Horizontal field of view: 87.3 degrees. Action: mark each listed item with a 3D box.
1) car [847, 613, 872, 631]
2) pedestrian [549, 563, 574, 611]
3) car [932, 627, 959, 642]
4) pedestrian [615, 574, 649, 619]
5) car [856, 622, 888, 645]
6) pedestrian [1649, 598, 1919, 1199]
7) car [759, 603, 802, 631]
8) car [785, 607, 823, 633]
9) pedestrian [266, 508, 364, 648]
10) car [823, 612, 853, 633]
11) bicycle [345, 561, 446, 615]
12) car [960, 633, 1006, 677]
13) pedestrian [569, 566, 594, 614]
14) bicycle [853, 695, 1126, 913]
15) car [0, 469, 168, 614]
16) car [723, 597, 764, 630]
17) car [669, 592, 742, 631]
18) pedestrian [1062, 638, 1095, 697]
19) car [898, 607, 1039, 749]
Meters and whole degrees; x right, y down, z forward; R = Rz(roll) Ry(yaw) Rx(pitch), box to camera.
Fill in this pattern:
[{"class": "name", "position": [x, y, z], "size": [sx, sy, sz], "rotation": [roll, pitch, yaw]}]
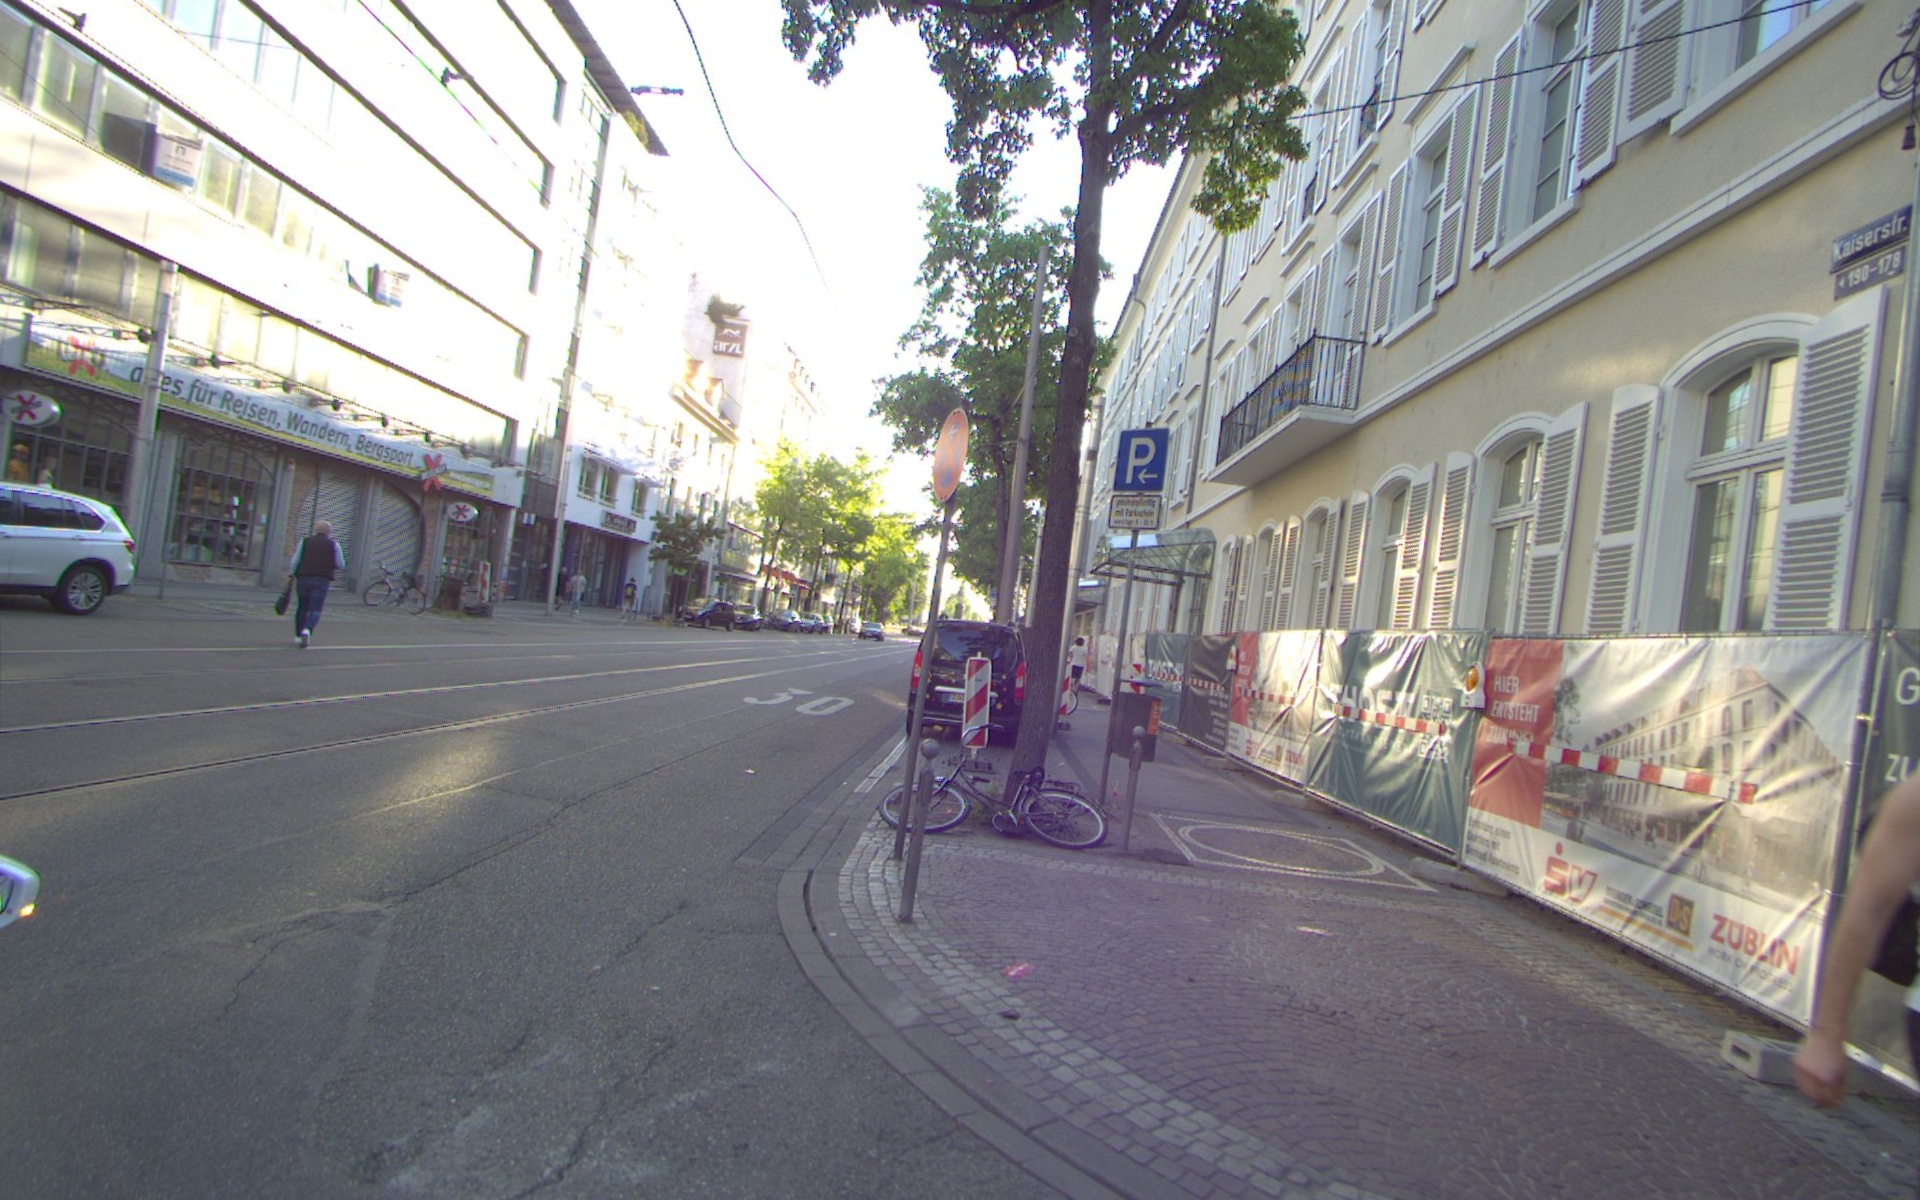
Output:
[{"class": "car", "position": [-10.489, 2.303, 105.200], "size": [1.799, 1.481, 3.732], "rotation": [10, -2, 4]}, {"class": "pedestrian", "position": [-15.880, -0.516, 40.144], "size": [0.619, 1.798, 0.813], "rotation": [8, 0, -15]}, {"class": "car", "position": [-2.220, 5.336, 155.316], "size": [3.930, 1.703, 1.912], "rotation": [9, -1, -5]}, {"class": "pedestrian", "position": [-14.280, -0.135, 43.838], "size": [0.790, 1.798, 0.973], "rotation": [8, 0, 14]}, {"class": "car", "position": [-6.914, 2.668, 79.605], "size": [1.871, 1.579, 3.878], "rotation": [7, -2, 2]}, {"class": "pedestrian", "position": [2.200, 0.962, 2.058], "size": [0.790, 1.844, 1.072], "rotation": [7, 3, 11]}, {"class": "car", "position": [-12.017, 1.177, 67.583], "size": [1.799, 1.481, 3.732], "rotation": [10, -2, 4]}, {"class": "car", "position": [-11.459, 1.471, 74.074], "size": [1.799, 1.481, 3.732], "rotation": [10, -2, 4]}, {"class": "pedestrian", "position": [-9.068, -0.317, 14.133], "size": [0.800, 1.798, 1.059], "rotation": [8, 0, -44]}, {"class": "car", "position": [-10.988, 2.029, 90.906], "size": [1.799, 1.481, 3.732], "rotation": [10, -2, 4]}, {"class": "bicycle", "position": [-14.013, -0.293, 24.986], "size": [1.991, 0.963, 0.669], "rotation": [11, 0, 0]}, {"class": "car", "position": [1.153, 2.598, 48.186], "size": [1.796, 1.770, 3.792], "rotation": [8, -2, 4]}, {"class": "pedestrian", "position": [-15.132, -0.403, 40.220], "size": [0.619, 1.798, 0.813], "rotation": [8, 0, -15]}, {"class": "bicycle", "position": [0.259, 1.513, 7.838], "size": [1.671, 0.445, 1.378], "rotation": [8, 42, 27]}, {"class": "car", "position": [-13.547, -0.958, 13.208], "size": [1.985, 1.795, 4.951], "rotation": [10, -2, 2]}, {"class": "car", "position": [-12.399, 0.775, 57.919], "size": [1.802, 1.481, 3.725], "rotation": [11, -2, -8]}, {"class": "car", "position": [-12.541, 0.602, 49.859], "size": [1.696, 1.401, 3.666], "rotation": [10, -2, 17]}, {"class": "pedestrian", "position": [3.787, 2.145, 32.209], "size": [0.790, 1.799, 0.972], "rotation": [5, 0, -1]}, {"class": "car", "position": [0.257, 1.198, 15.997], "size": [1.725, 1.815, 3.658], "rotation": [6, -2, 6]}]
